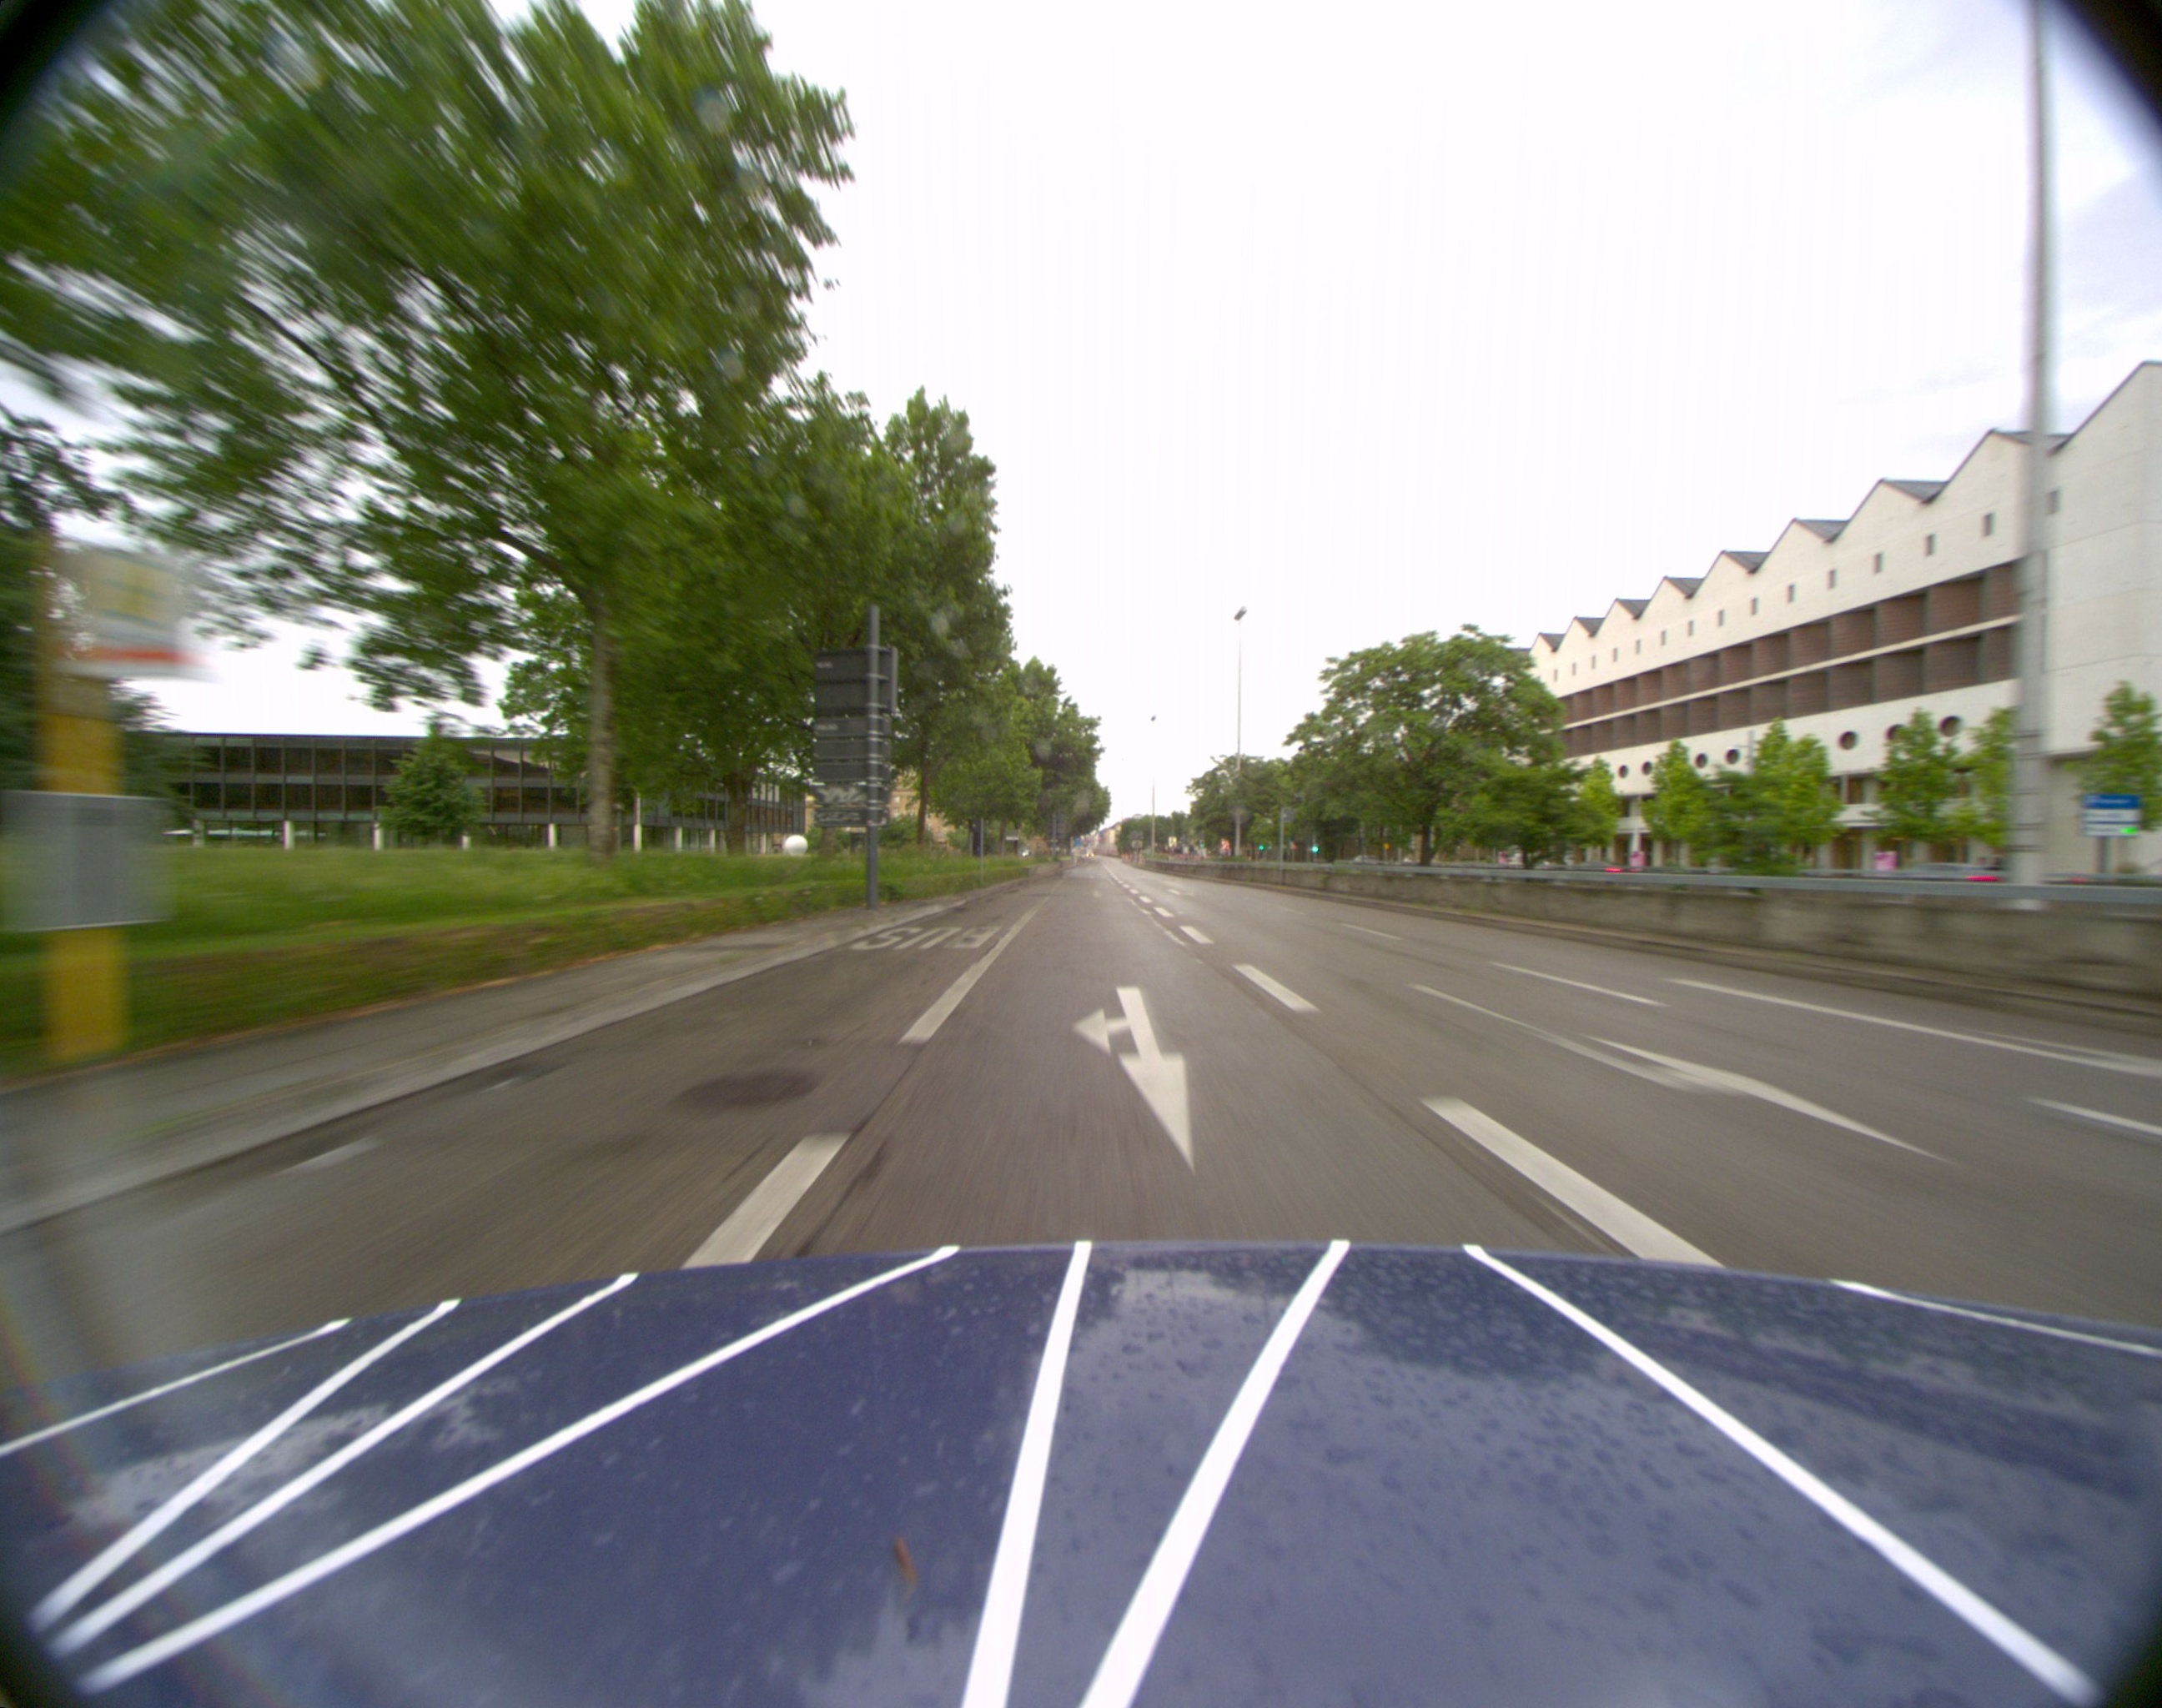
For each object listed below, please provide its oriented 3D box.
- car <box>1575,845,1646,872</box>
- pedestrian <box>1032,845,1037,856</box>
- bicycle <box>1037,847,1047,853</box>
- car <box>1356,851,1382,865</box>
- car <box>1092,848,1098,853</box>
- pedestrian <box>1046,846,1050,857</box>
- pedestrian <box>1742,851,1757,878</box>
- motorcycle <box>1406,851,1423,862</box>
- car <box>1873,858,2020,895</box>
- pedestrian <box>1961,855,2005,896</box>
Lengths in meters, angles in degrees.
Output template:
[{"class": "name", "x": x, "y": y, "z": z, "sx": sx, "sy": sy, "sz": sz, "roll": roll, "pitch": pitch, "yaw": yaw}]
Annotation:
[{"class": "car", "x": 31.695, "y": 0.241, "z": 45.581, "sx": 1.699, "sy": 1.547, "sz": 3.474, "roll": -1, "pitch": 1, "yaw": -4}, {"class": "pedestrian", "x": -7.344, "y": -0.504, "z": 119.698, "sx": 0.671, "sy": 1.655, "sz": 0.587, "roll": 1, "pitch": 2, "yaw": -16}, {"class": "bicycle", "x": -7.419, "y": -0.743, "z": 144.837, "sx": 1.758, "sy": 1.059, "sz": 0.827, "roll": -1, "pitch": 1, "yaw": -20}, {"class": "car", "x": 29.119, "y": 0.384, "z": 76.900, "sx": 1.298, "sy": 1.270, "sz": 2.821, "roll": -1, "pitch": 1, "yaw": -5}, {"class": "car", "x": 3.878, "y": -0.974, "z": 214.459, "sx": 1.517, "sy": 1.138, "sz": 2.761, "roll": -1, "pitch": 1, "yaw": 3}, {"class": "pedestrian", "x": -5.373, "y": -0.462, "z": 124.475, "sx": 0.594, "sy": 1.764, "sz": 0.587, "roll": -1, "pitch": 2, "yaw": 10}, {"class": "pedestrian", "x": 47.450, "y": 0.729, "z": 53.925, "sx": 0.738, "sy": 1.848, "sz": 0.703, "roll": 1, "pitch": 2, "yaw": 42}, {"class": "motorcycle", "x": 37.999, "y": 0.253, "z": 86.555, "sx": 1.817, "sy": 1.175, "sz": 0.606, "roll": -1, "pitch": 1, "yaw": -14}, {"class": "car", "x": 32.630, "y": 0.813, "z": 28.799, "sx": 1.569, "sy": 1.220, "sz": 3.541, "roll": -1, "pitch": 1, "yaw": 1}, {"class": "pedestrian", "x": 42.806, "y": 1.014, "z": 36.063, "sx": 1.088, "sy": 1.855, "sz": 0.829, "roll": -1, "pitch": 1, "yaw": -4}]
